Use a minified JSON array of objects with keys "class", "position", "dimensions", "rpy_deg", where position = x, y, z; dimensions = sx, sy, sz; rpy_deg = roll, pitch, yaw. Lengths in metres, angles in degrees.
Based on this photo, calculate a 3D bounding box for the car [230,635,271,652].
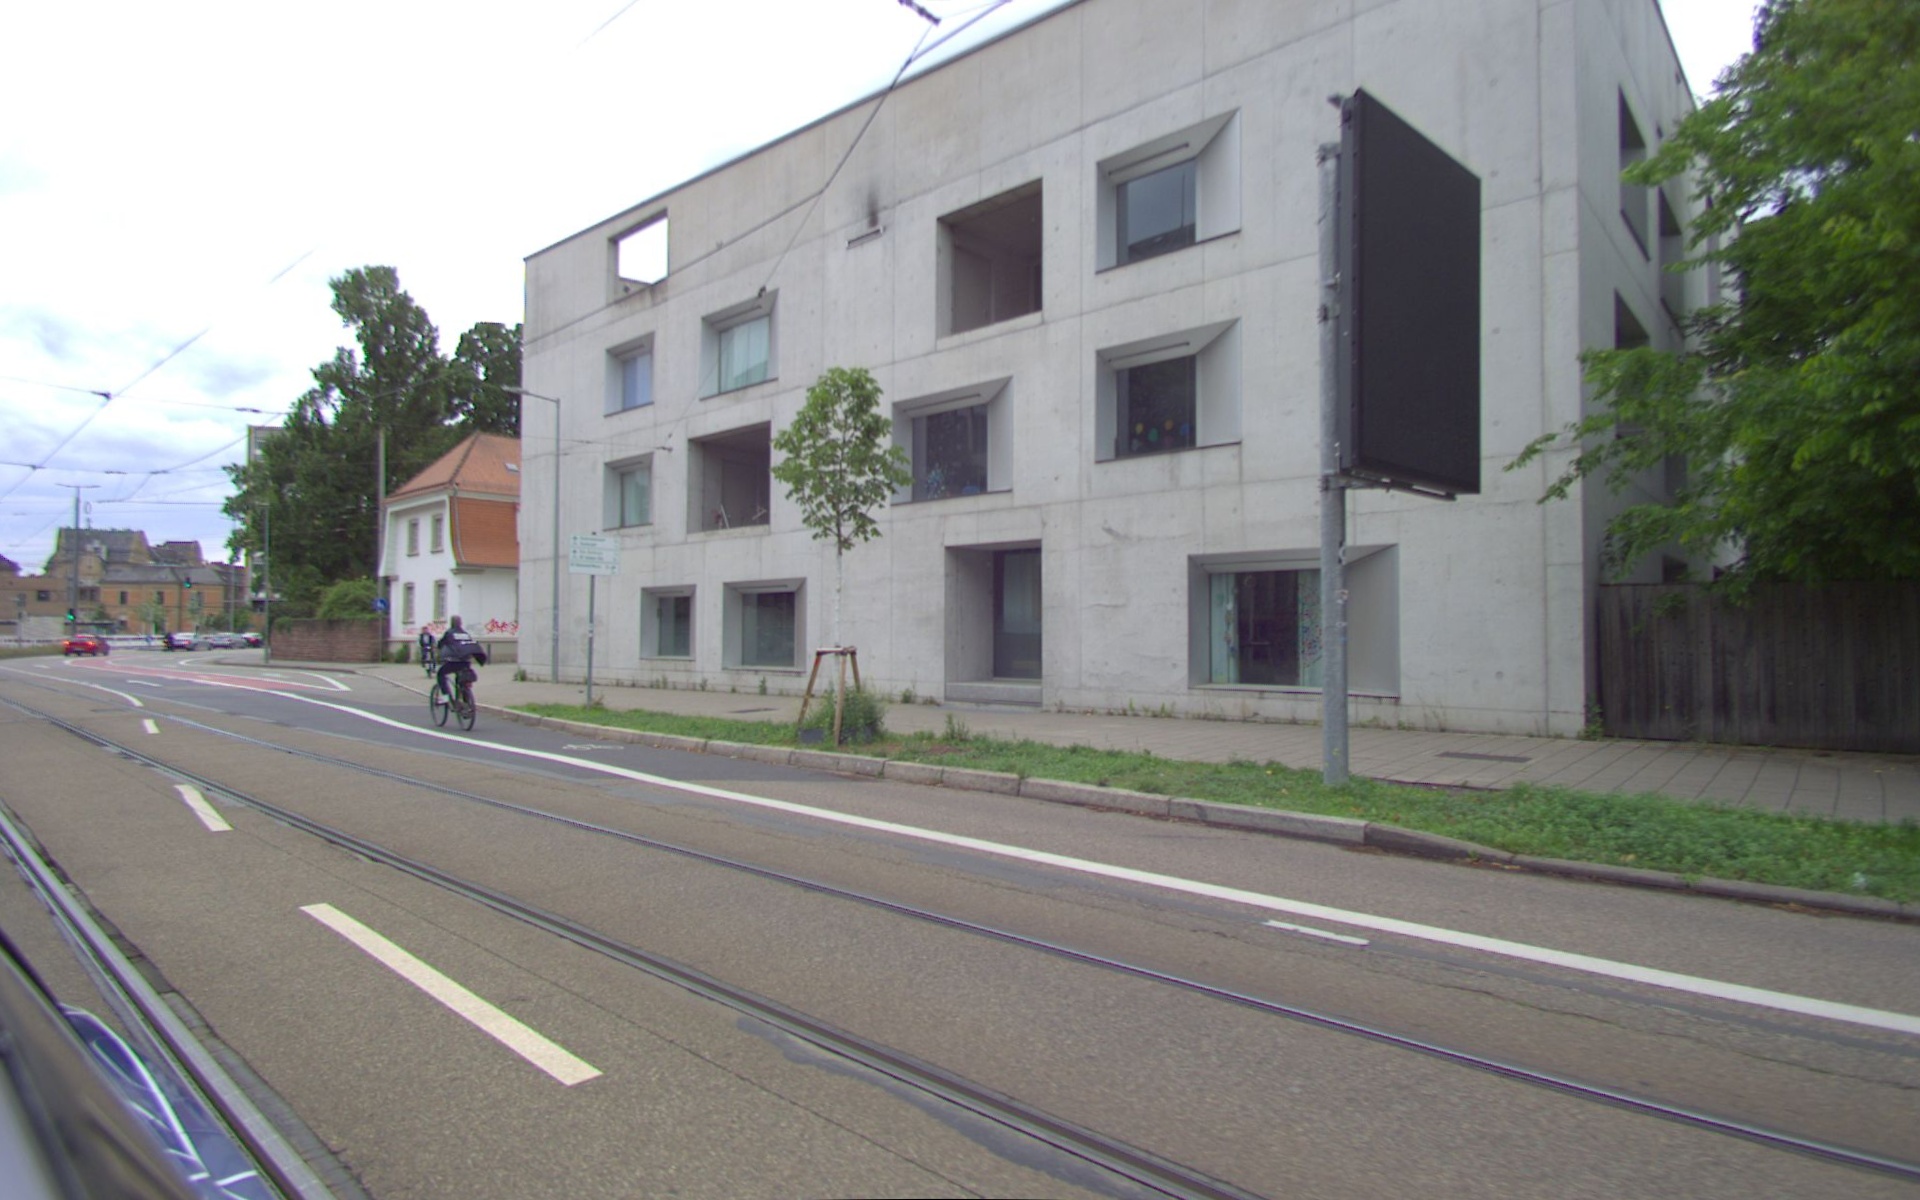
[{"class":"car","position":[-68.554,4.177,97.839],"dimensions":[1.757,1.623,4.335],"rpy_deg":[0,-2,-14]}]

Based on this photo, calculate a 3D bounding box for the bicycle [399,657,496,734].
[{"class":"bicycle","position":[-8.601,1.581,16.952],"dimensions":[2.011,1.195,0.782],"rpy_deg":[-2,-6,44]}]

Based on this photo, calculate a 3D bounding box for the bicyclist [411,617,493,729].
[{"class":"bicyclist","position":[-8.469,1.209,16.866],"dimensions":[1.148,1.797,0.782],"rpy_deg":[-3,-6,44]}]

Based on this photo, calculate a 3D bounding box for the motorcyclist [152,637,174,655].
[{"class":"motorcyclist","position":[-64.021,3.689,81.289],"dimensions":[1.058,1.497,1.255],"rpy_deg":[1,-2,-22]}]

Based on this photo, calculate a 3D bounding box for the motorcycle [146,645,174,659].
[{"class":"motorcycle","position":[-63.808,4.110,80.780],"dimensions":[1.038,1.078,2.656],"rpy_deg":[1,-2,-22]}]

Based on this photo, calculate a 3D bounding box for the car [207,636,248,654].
[{"class":"car","position":[-66.916,4.085,92.461],"dimensions":[1.658,1.663,3.991],"rpy_deg":[0,-2,-14]}]

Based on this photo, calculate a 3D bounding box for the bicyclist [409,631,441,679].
[{"class":"bicyclist","position":[-19.181,1.970,36.264],"dimensions":[0.869,1.703,0.765],"rpy_deg":[-3,-3,45]}]

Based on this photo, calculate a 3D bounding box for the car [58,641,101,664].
[{"class":"car","position":[-60.301,3.593,69.368],"dimensions":[1.732,1.511,4.010],"rpy_deg":[3,-4,-35]}]

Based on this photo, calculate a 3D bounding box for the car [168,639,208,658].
[{"class":"car","position":[-64.939,4.056,85.159],"dimensions":[1.469,1.520,3.479],"rpy_deg":[1,-2,-15]}]

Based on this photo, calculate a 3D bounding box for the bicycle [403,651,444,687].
[{"class":"bicycle","position":[-19.243,2.463,36.304],"dimensions":[0.765,1.221,1.870],"rpy_deg":[2,-3,-45]}]
